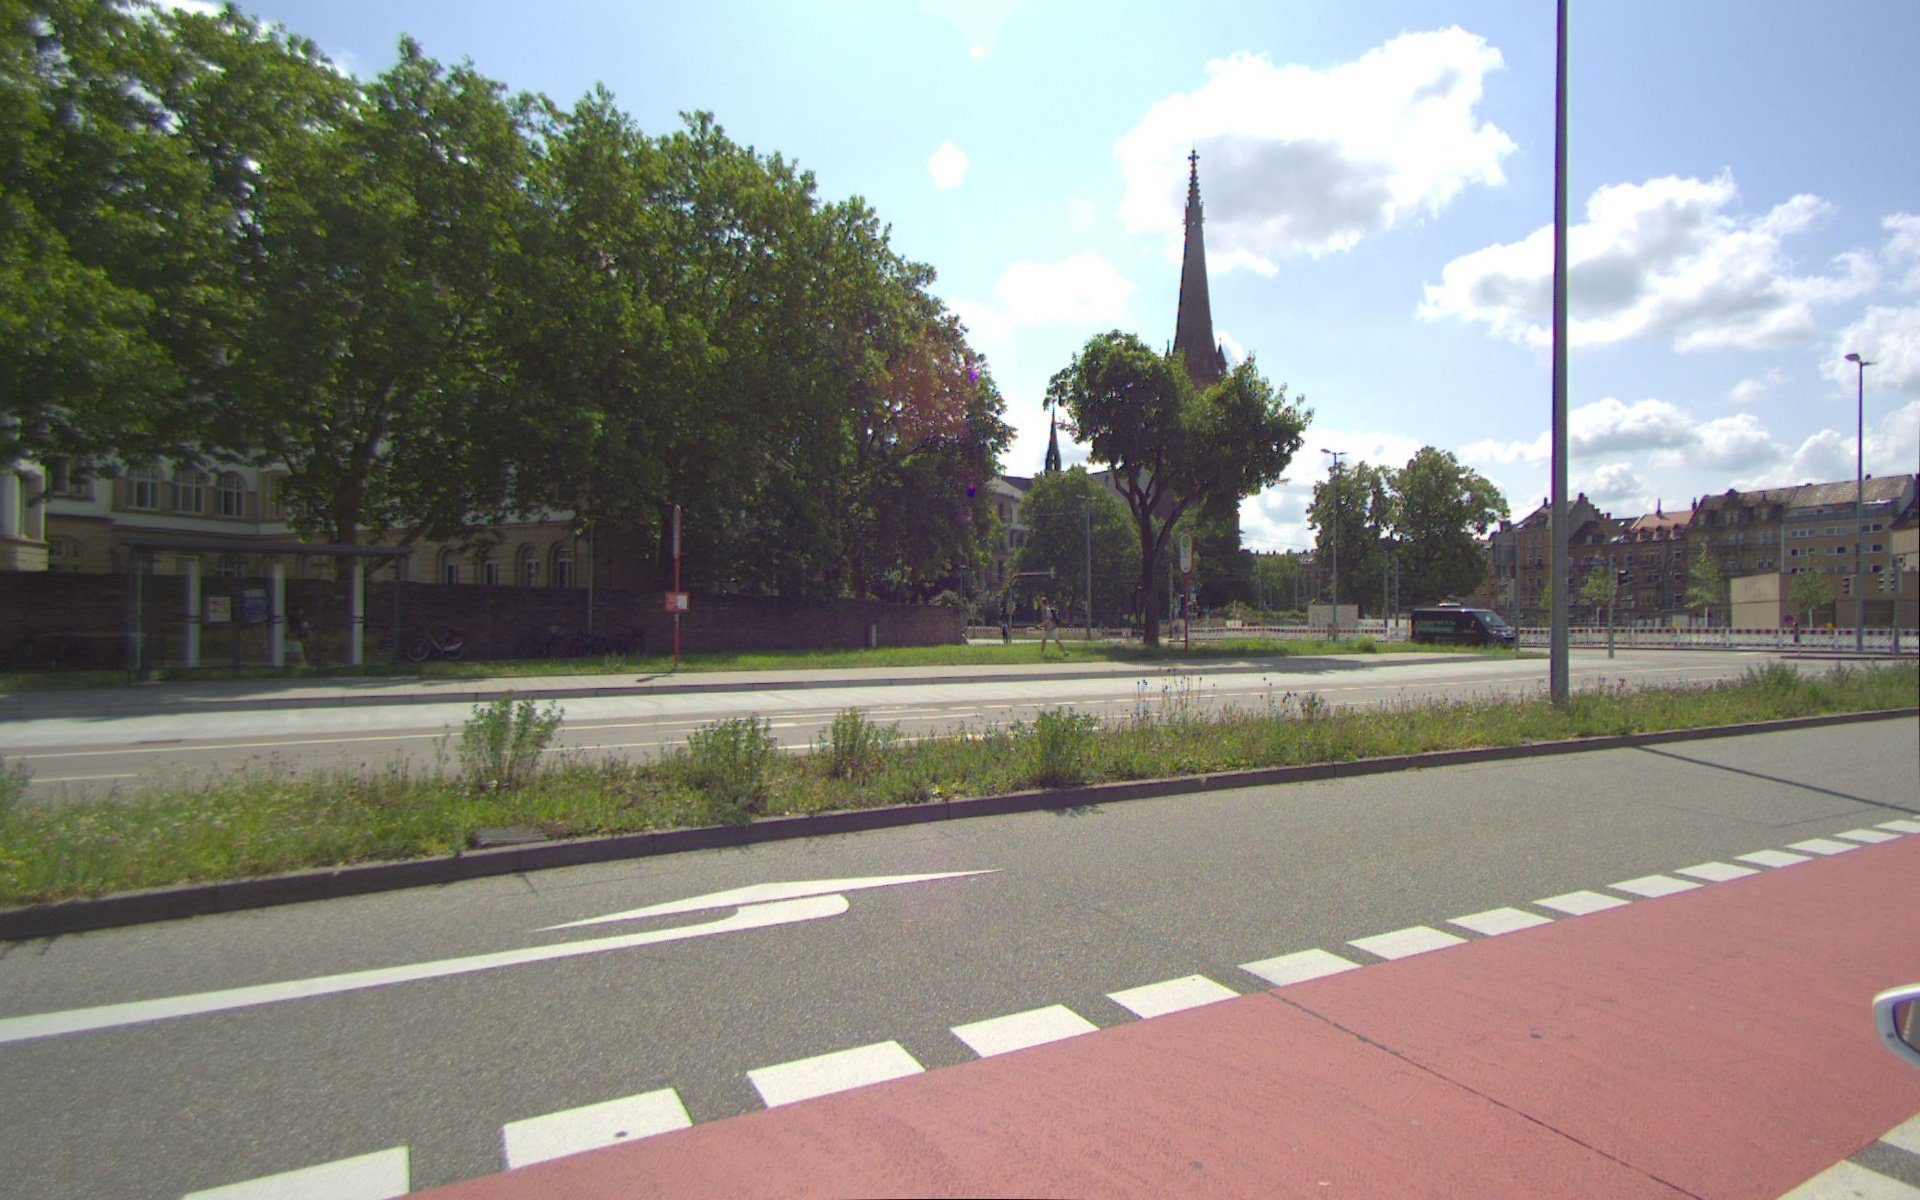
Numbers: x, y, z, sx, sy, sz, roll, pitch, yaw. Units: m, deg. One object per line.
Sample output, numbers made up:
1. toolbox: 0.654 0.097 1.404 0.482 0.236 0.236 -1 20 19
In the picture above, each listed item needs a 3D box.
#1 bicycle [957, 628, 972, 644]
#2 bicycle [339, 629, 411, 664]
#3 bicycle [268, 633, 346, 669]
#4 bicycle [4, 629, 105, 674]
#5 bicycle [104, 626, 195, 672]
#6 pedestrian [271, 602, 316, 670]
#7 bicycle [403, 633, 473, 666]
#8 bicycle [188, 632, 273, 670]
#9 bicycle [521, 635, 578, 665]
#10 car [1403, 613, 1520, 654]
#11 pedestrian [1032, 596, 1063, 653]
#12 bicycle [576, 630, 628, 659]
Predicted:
1. bicycle: 0.275 2.120 59.438 0.534 0.914 1.666 0 -1 12
2. bicycle: -16.318 1.287 28.063 0.537 0.914 1.658 0 -1 39
3. bicycle: -17.335 1.338 26.709 0.537 0.914 1.658 0 -1 39
4. bicycle: -20.375 1.150 22.626 0.538 0.964 1.656 0 -1 43
5. bicycle: -19.228 1.147 23.861 0.538 1.065 1.615 0 -1 43
6. pedestrian: -16.362 0.872 24.654 0.607 1.638 0.754 1 0 39
7. bicycle: -15.341 1.449 29.553 0.446 0.914 1.786 0 -1 39
8. bicycle: -18.387 1.279 25.349 0.537 0.914 1.658 0 -1 39
9. bicycle: -13.249 1.590 32.424 0.537 0.914 1.658 0 -1 39
10. car: 25.017 1.622 50.269 1.908 1.904 4.980 0 -1 -33
11. pedestrian: 2.457 0.690 28.046 0.858 1.580 0.556 0 -1 6
12. bicycle: -12.179 1.503 34.214 0.536 0.914 1.660 0 -1 34
